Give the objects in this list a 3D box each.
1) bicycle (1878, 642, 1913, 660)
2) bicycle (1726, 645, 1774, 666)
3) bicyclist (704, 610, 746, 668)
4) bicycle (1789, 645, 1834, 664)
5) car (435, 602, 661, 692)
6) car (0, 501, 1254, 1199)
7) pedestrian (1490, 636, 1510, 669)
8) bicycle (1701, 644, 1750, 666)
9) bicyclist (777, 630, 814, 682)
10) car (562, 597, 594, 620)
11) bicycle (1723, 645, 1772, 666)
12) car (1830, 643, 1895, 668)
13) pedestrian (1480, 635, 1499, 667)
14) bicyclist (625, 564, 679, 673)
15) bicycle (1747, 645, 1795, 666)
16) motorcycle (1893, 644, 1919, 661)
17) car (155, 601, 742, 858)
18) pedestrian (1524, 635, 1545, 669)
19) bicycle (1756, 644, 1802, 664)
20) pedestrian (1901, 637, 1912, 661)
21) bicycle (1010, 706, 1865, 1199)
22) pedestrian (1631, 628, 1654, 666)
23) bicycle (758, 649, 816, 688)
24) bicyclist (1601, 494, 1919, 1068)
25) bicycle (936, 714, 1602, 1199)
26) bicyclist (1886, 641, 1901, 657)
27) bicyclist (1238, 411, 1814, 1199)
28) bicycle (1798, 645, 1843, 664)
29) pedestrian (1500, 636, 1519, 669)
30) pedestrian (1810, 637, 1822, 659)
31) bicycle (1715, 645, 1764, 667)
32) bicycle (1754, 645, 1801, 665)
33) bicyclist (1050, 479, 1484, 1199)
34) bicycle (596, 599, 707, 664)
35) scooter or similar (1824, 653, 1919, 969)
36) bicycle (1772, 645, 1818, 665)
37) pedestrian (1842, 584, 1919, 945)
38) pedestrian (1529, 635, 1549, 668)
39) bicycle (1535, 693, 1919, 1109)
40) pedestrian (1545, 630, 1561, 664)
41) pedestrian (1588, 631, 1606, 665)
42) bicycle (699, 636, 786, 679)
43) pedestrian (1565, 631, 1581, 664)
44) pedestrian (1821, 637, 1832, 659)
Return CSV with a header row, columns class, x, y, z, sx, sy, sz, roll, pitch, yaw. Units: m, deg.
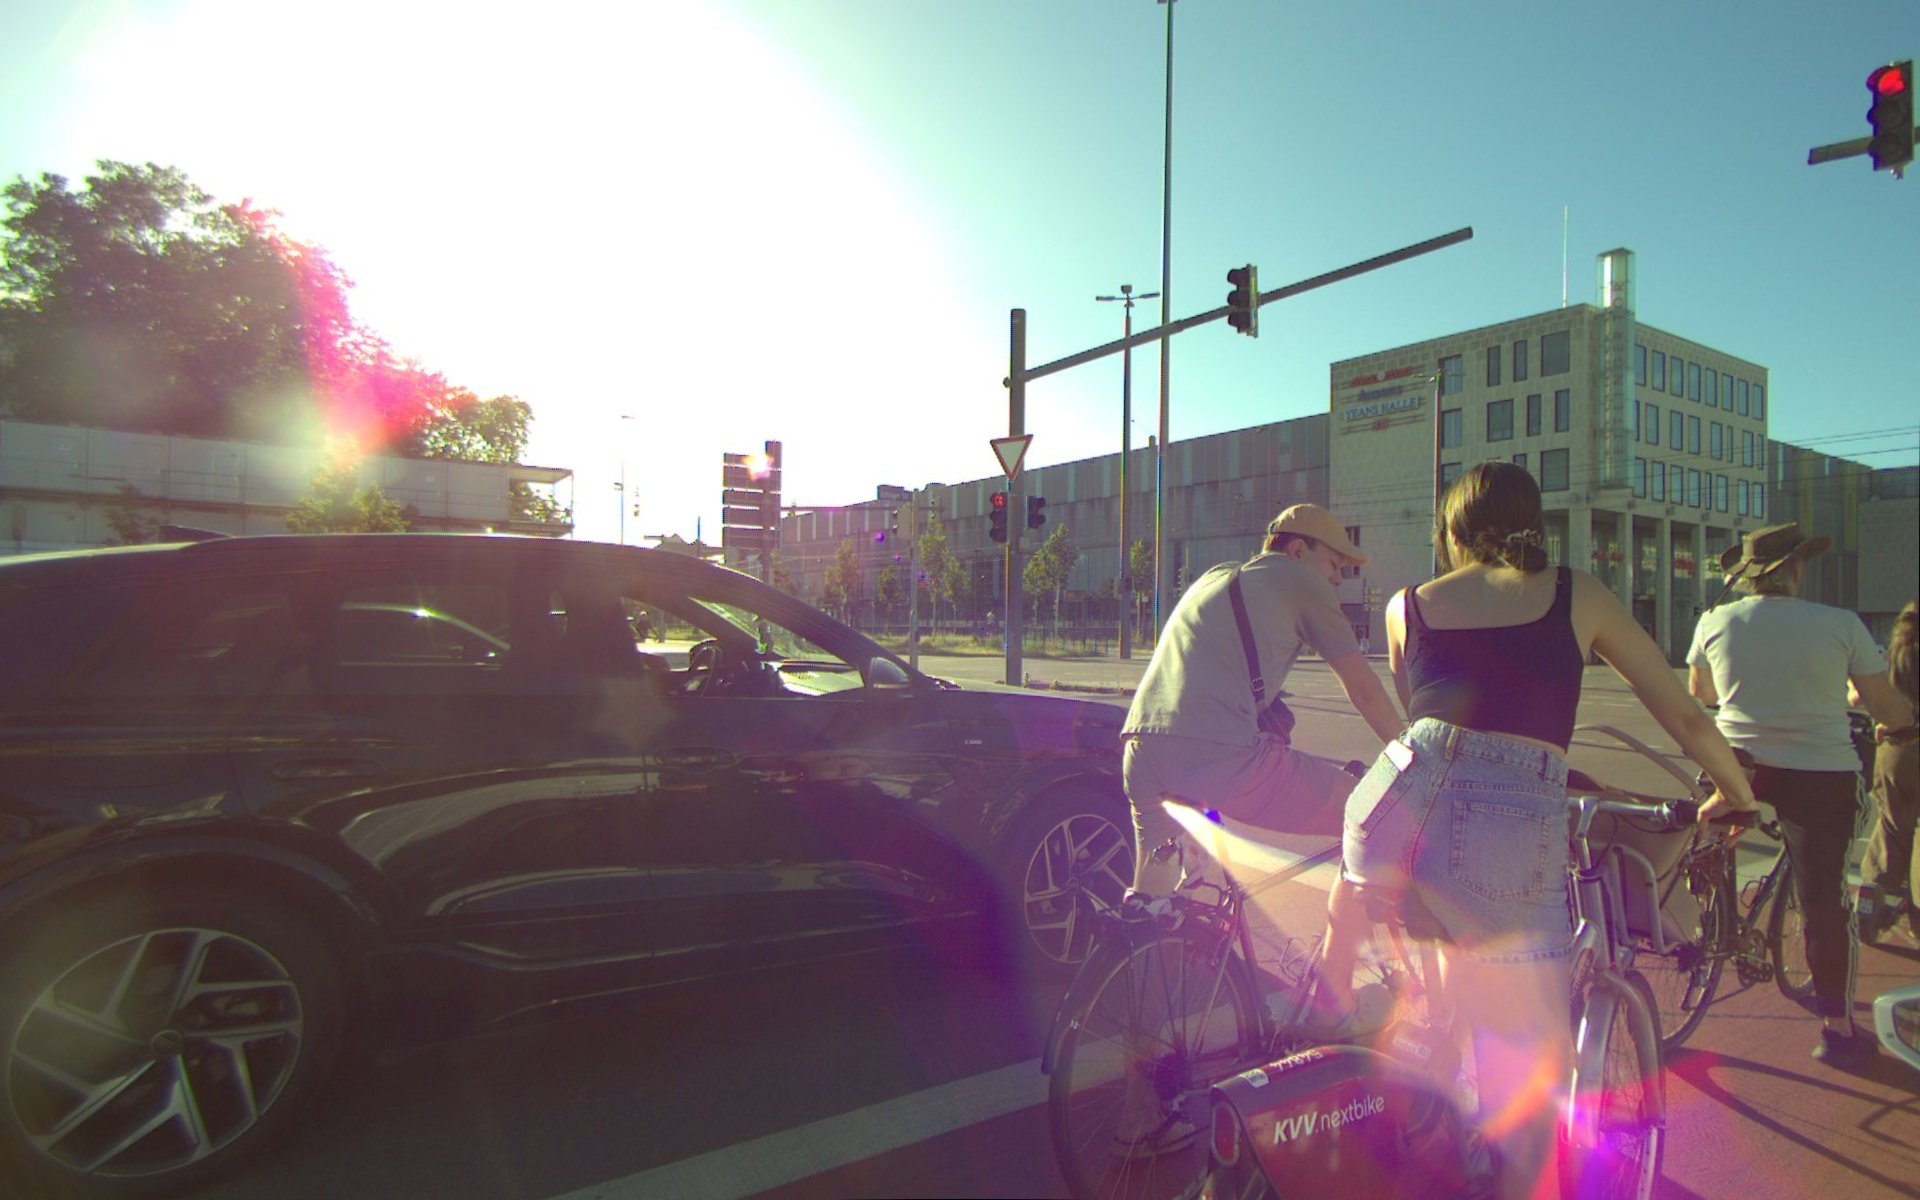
class,x,y,z,sx,sy,sz,roll,pitch,yaw
bicycle,68.191,3.744,73.206,1.775,1.223,0.512,1,0,19
bicycle,48.696,3.396,61.958,0.605,1.238,2.295,1,-1,-31
bicyclist,-8.496,1.393,36.316,1.078,2.040,0.961,2,0,16
bicycle,58.852,3.743,69.426,0.605,1.238,2.295,1,-1,-31
car,-8.028,0.899,19.665,3.855,1.606,1.645,2,-2,-32
car,-1.157,0.634,3.872,4.630,1.656,1.760,1,0,-32
pedestrian,32.162,3.136,59.867,0.710,1.910,0.779,2,0,-36
bicycle,45.762,3.297,60.082,0.605,1.238,2.295,1,-1,-31
bicyclist,-6.622,2.240,40.425,0.985,2.040,1.088,2,0,-40
car,-32.935,0.727,86.516,1.785,1.908,3.964,2,0,-33
bicycle,48.046,3.373,61.336,0.605,1.238,2.295,1,-1,-31
car,49.783,3.071,55.408,3.956,1.359,1.621,2,-4,-32
pedestrian,32.413,3.119,61.518,0.710,1.910,0.779,2,0,-36
bicyclist,-9.129,0.554,29.765,1.292,3.144,0.835,2,0,-32
bicycle,51.277,3.483,63.549,0.605,1.238,2.295,1,-1,-31
motorcycle,70.739,3.918,74.852,0.508,1.223,1.786,1,0,-44
car,-3.588,0.791,7.497,3.562,1.505,1.485,1,0,-30
pedestrian,33.396,3.014,58.376,0.710,1.910,0.779,2,0,-36
bicycle,54.281,3.589,66.564,0.605,1.238,2.295,1,-1,-31
pedestrian,71.098,3.681,75.452,0.579,1.702,0.516,1,1,-43
bicycle,1.008,0.888,1.926,1.811,1.234,0.612,1,0,-33
pedestrian,38.261,2.619,56.301,0.767,2.040,0.876,2,0,-41
bicycle,-7.077,2.757,40.931,0.962,1.388,2.930,2,0,-40
bicyclist,2.866,0.558,3.554,0.856,1.743,0.657,2,0,-30
bicycle,0.937,0.955,2.772,1.949,1.124,0.643,1,0,-33
bicyclist,68.086,3.565,73.259,0.612,1.099,0.512,1,0,18
bicyclist,1.106,0.526,1.984,0.866,1.600,0.638,1,0,-33
bicycle,59.824,3.775,69.850,0.605,1.238,2.295,1,-1,-31
pedestrian,33.223,3.173,60.689,0.780,1.910,0.709,2,0,-37
pedestrian,66.976,3.731,78.613,0.610,1.702,0.565,1,0,-39
bicycle,46.964,3.336,60.526,0.605,1.238,2.295,1,-1,-31
bicycle,52.901,3.540,65.016,0.605,1.238,2.295,1,-1,-31
bicyclist,0.800,0.561,2.675,0.833,1.627,0.712,1,0,-32
bicycle,-9.111,0.907,29.767,3.047,1.835,0.835,0,1,-32
scooter or similar,4.489,0.928,4.715,1.186,1.311,0.541,2,0,-45
bicycle,55.519,3.629,66.828,0.605,1.238,2.295,1,-1,-31
pedestrian,4.630,0.764,4.807,0.568,1.654,0.543,2,0,-45
pedestrian,34.406,3.051,59.688,0.710,1.910,0.779,2,0,-36
bicycle,2.876,0.963,3.681,1.810,1.171,0.482,2,0,-31
pedestrian,34.208,2.684,57.914,0.705,1.910,0.785,2,0,33
pedestrian,35.872,2.701,56.582,0.784,1.868,0.863,0,-1,28
bicycle,-7.814,2.049,36.116,2.905,1.388,0.970,2,0,16
pedestrian,35.630,2.737,58.423,0.784,1.868,0.862,0,-1,32
pedestrian,67.448,3.740,78.197,0.602,1.702,0.549,1,0,-40
